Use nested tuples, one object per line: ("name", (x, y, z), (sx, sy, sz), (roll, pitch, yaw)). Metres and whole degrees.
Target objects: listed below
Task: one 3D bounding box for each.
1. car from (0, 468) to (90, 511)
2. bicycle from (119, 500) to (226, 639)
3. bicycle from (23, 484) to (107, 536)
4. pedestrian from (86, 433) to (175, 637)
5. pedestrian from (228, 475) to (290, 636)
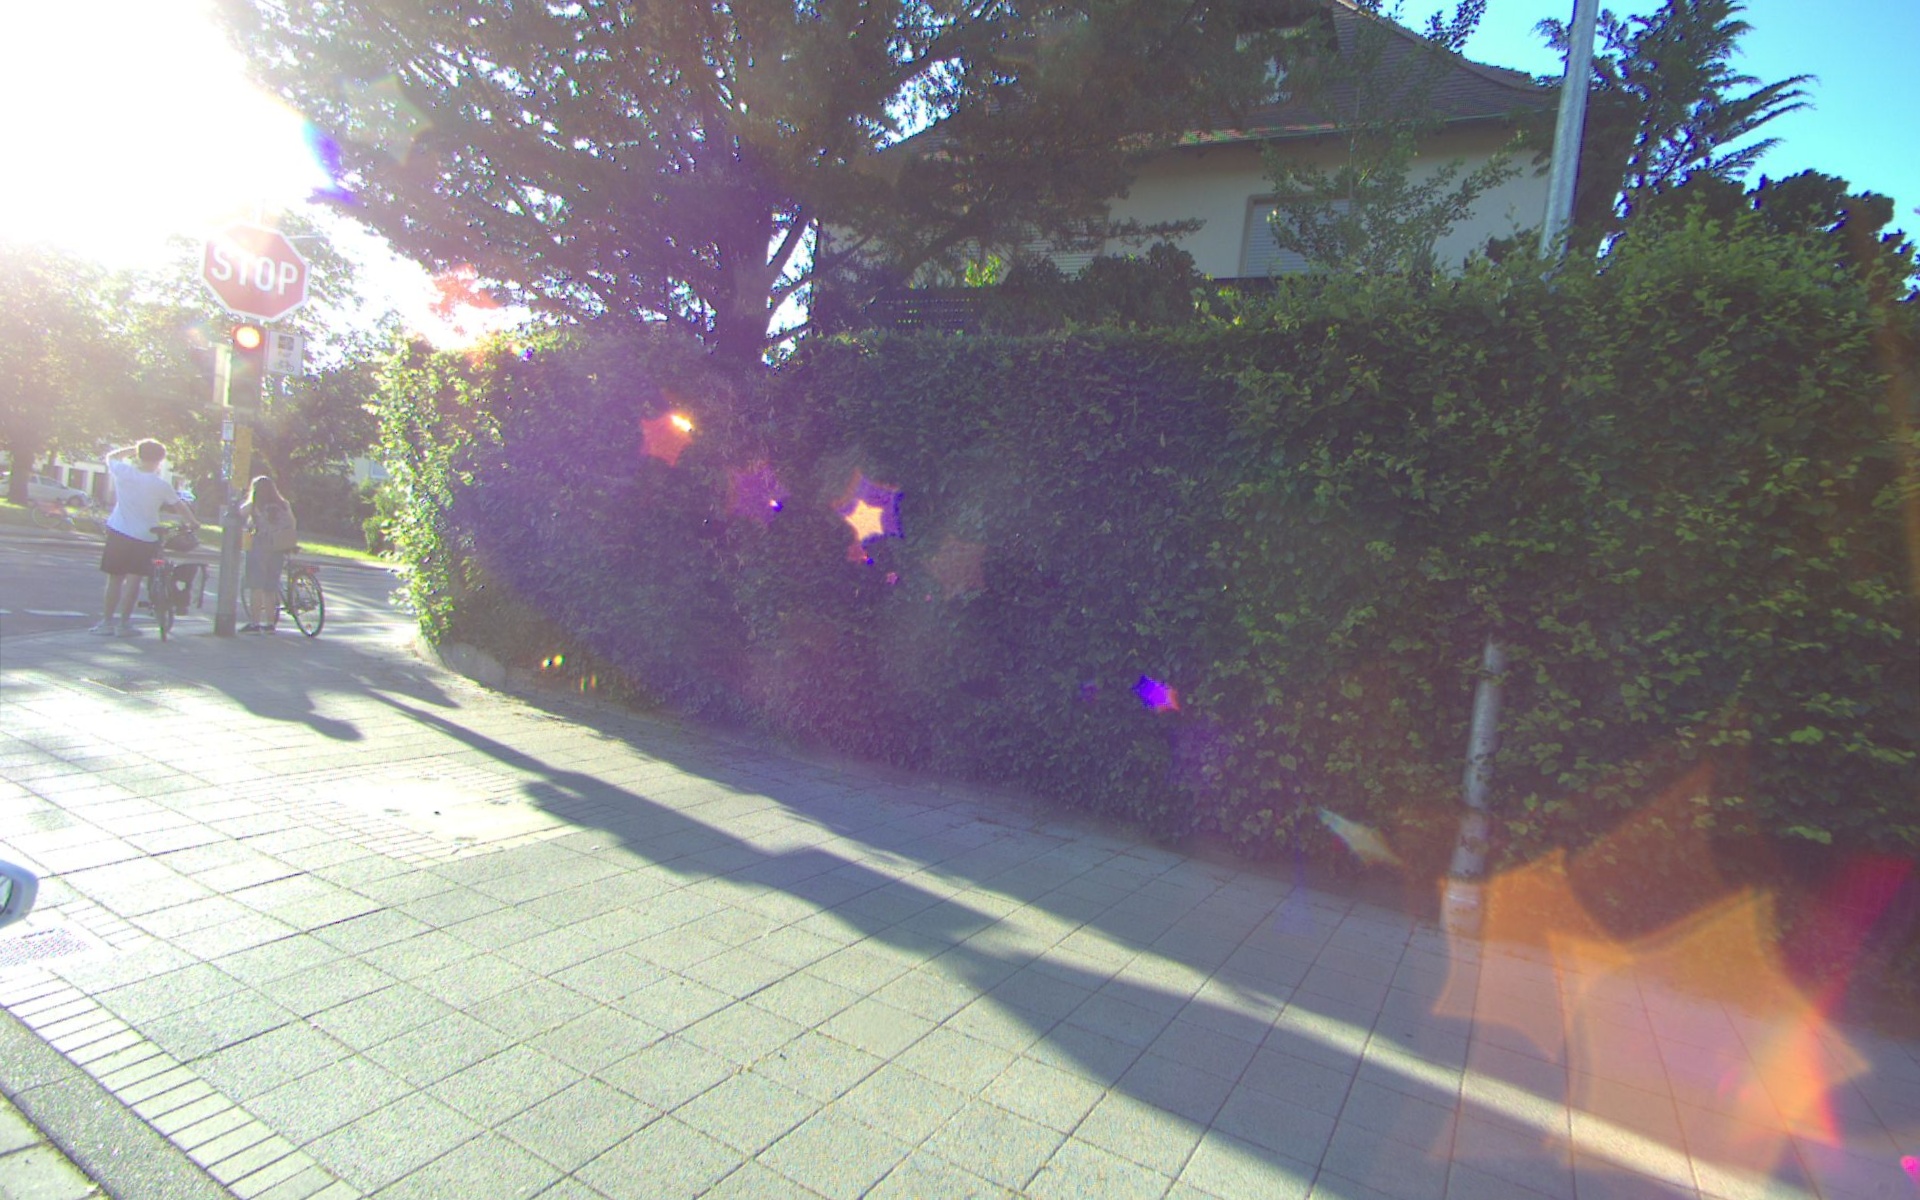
("car", (-46.428, -5.569, 50.391), (1.497, 1.542, 3.933), (6, -2, 25))
("bicycle", (-7.785, -0.328, 10.010), (0.569, 1.198, 1.888), (8, -1, -34))
("bicycle", (-23.326, -2.344, 26.244), (0.460, 1.103, 1.520), (12, 3, 39))
("pedestrian", (-8.147, -0.628, 9.894), (0.624, 1.893, 0.765), (2, 5, -40))
("pedestrian", (-7.310, -0.458, 10.488), (0.347, 1.604, 0.458), (8, -1, -37))
